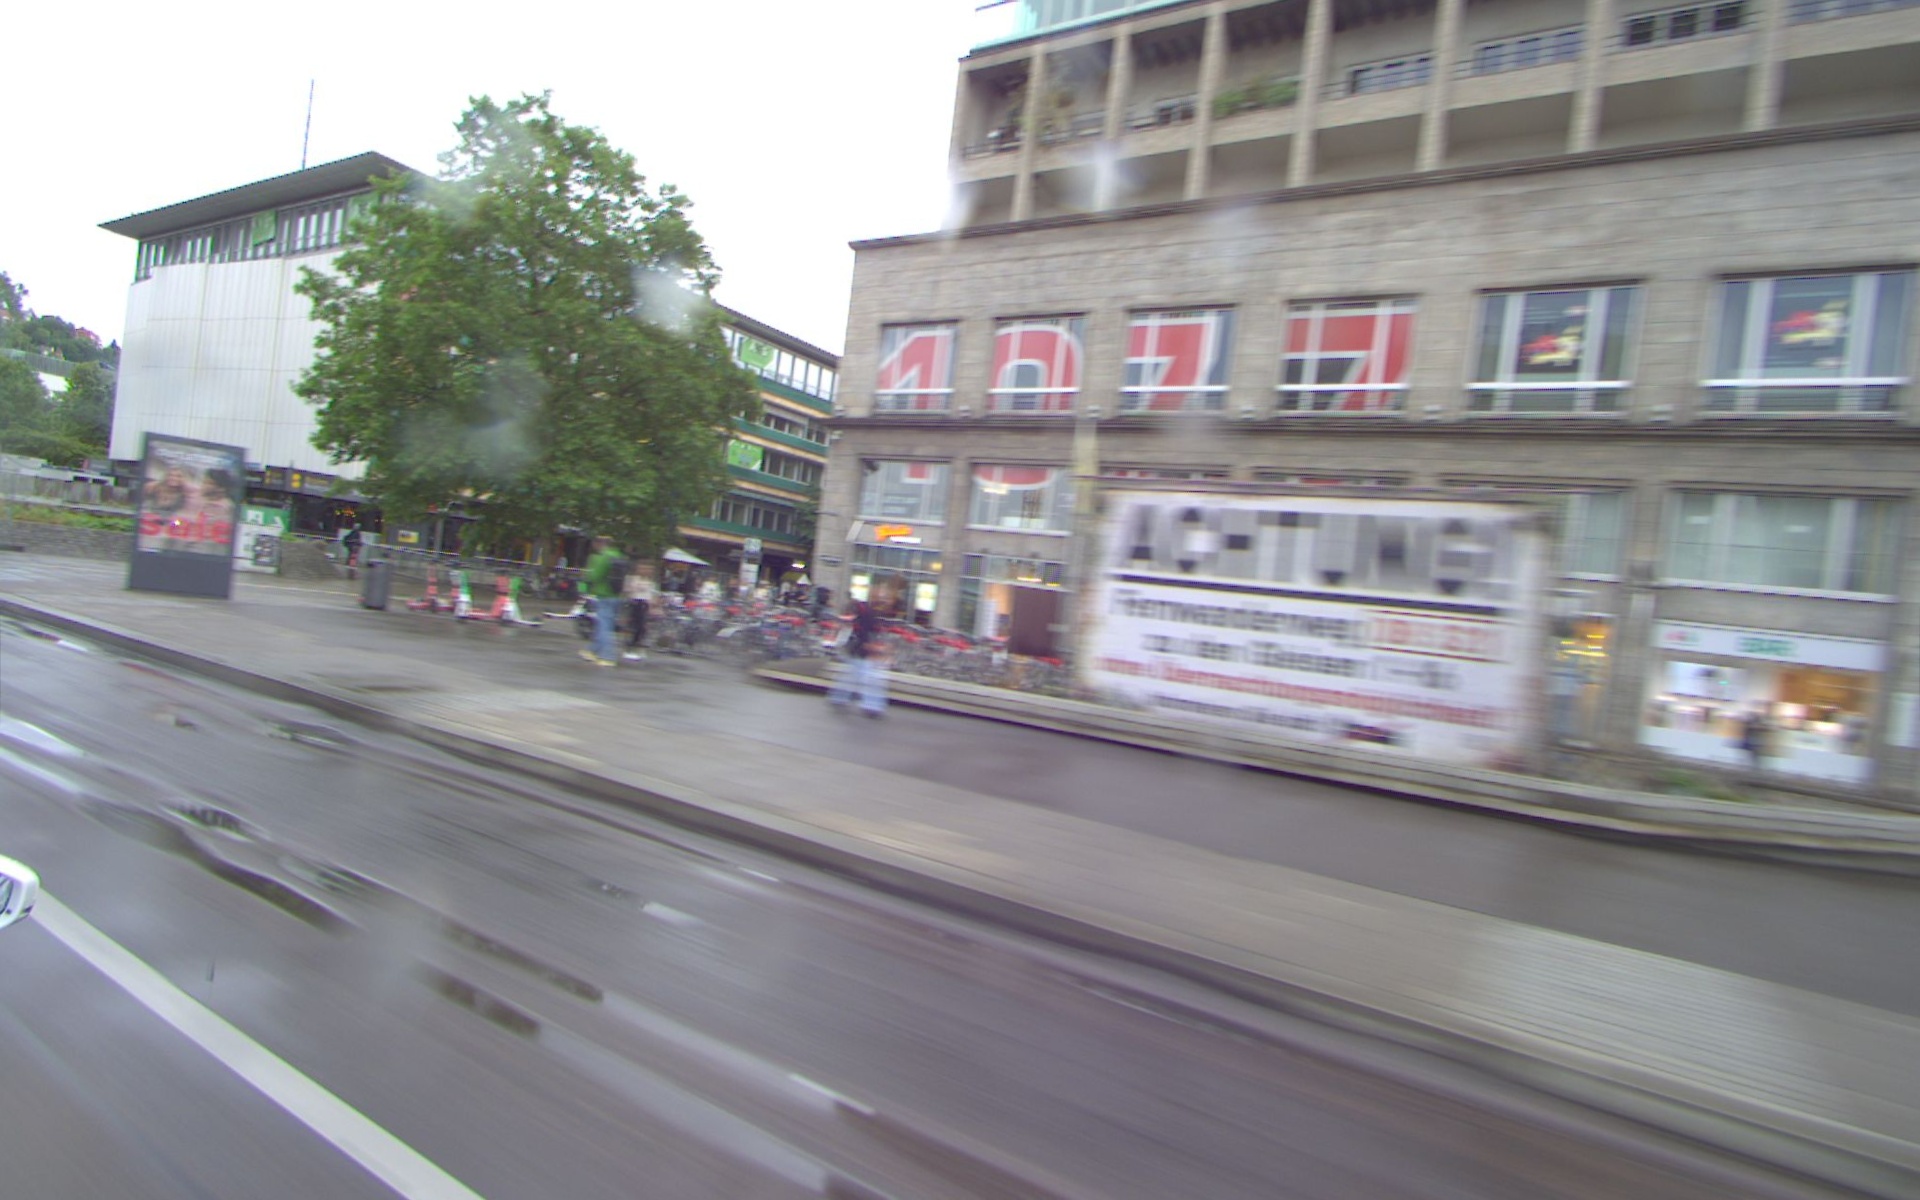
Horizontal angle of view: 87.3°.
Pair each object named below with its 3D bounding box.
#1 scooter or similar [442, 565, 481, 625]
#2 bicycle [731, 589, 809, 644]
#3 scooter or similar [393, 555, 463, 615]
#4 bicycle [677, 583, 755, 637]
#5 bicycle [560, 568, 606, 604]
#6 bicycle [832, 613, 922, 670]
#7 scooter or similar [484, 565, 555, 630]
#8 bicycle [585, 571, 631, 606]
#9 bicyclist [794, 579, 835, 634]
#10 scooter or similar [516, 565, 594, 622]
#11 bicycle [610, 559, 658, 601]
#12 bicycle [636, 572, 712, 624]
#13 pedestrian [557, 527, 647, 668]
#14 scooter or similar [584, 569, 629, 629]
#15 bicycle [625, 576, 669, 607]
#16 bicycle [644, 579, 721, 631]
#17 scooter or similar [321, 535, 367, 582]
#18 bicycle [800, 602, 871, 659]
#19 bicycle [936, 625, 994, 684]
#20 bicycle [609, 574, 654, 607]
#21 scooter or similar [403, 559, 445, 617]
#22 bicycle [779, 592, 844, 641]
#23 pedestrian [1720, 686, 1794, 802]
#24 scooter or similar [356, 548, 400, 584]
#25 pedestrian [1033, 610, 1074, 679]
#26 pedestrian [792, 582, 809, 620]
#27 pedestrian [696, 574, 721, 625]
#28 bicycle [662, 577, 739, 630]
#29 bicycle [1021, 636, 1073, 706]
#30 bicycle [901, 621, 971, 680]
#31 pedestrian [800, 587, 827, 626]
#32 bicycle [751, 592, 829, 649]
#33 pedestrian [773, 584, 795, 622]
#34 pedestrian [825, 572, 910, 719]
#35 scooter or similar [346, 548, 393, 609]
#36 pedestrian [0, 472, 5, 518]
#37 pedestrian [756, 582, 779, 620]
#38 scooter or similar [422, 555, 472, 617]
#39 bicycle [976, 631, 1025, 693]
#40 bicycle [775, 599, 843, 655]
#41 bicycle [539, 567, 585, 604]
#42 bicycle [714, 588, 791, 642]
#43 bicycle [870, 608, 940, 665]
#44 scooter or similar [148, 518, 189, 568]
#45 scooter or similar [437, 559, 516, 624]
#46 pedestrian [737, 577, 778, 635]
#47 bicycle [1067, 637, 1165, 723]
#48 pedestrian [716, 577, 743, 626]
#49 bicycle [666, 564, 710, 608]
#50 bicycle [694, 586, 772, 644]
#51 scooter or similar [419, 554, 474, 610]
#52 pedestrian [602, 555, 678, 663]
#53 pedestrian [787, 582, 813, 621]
[{"bbox_3d":[-10.284,-0.119,20.730,0.434,1.142,1.355,10,-2,-32],"label":"scooter or similar"},{"bbox_3d":[-4.730,0.438,25.158,0.608,1.253,1.990,7,2,33],"label":"bicycle"},{"bbox_3d":[-12.905,-0.364,24.444,1.350,1.264,0.435,8,-1,-28],"label":"scooter or similar"},{"bbox_3d":[-6.345,0.284,26.279,0.608,1.253,1.990,7,2,33],"label":"bicycle"},{"bbox_3d":[-14.033,-0.533,37.416,1.995,1.116,0.615,7,2,40],"label":"bicycle"},{"bbox_3d":[-1.869,0.935,23.255,0.863,1.123,2.884,7,1,20],"label":"bicycle"},{"bbox_3d":[-9.658,-0.032,22.102,0.581,1.271,1.308,7,-1,18],"label":"scooter or similar"},{"bbox_3d":[-13.314,-0.437,38.014,1.995,1.116,0.615,7,2,40],"label":"bicycle"},{"bbox_3d":[-4.555,0.204,31.499,0.893,1.574,0.650,7,1,36],"label":"bicyclist"},{"bbox_3d":[-10.928,-0.172,27.173,1.718,1.275,0.622,7,-1,5],"label":"scooter or similar"},{"bbox_3d":[-14.060,-0.868,43.339,2.100,1.581,0.792,7,0,40],"label":"bicycle"},{"bbox_3d":[-7.796,-0.036,27.495,0.608,1.253,1.990,7,2,33],"label":"bicycle"},{"bbox_3d":[-5.244,-0.024,14.746,0.774,1.956,0.708,7,1,23],"label":"pedestrian"},{"bbox_3d":[-9.357,-0.054,26.600,0.617,1.445,1.696,8,-1,-32],"label":"scooter or similar"},{"bbox_3d":[-12.310,-0.339,39.585,1.967,1.039,0.615,7,2,40],"label":"bicycle"},{"bbox_3d":[-7.424,0.161,27.000,0.608,1.253,1.990,7,2,33],"label":"bicycle"},{"bbox_3d":[-20.045,-1.346,32.723,1.292,1.348,0.410,7,-1,20],"label":"scooter or similar"},{"bbox_3d":[-2.960,0.732,24.093,0.607,1.253,1.993,7,1,25],"label":"bicycle"},{"bbox_3d":[0.123,1.138,21.417,0.661,1.123,1.695,7,1,17],"label":"bicycle"},{"bbox_3d":[-12.730,-0.379,38.967,1.967,1.069,0.615,7,2,40],"label":"bicycle"},{"bbox_3d":[-12.200,-0.278,22.889,0.941,1.221,0.305,7,-1,33],"label":"scooter or similar"},{"bbox_3d":[-4.669,0.517,31.572,1.982,1.270,0.659,7,0,36],"label":"bicycle"},{"bbox_3d":[13.444,2.408,16.997,0.777,1.814,0.652,7,1,37],"label":"pedestrian"},{"bbox_3d":[-19.645,-1.146,33.956,1.292,1.048,0.477,7,1,20],"label":"scooter or similar"},{"bbox_3d":[2.457,1.172,26.307,0.696,1.710,0.597,7,0,32],"label":"pedestrian"},{"bbox_3d":[-7.356,0.058,46.308,0.434,1.658,0.460,7,-1,13],"label":"pedestrian"},{"bbox_3d":[-8.398,-0.023,33.581,0.637,1.622,0.613,5,1,-19],"label":"pedestrian"},{"bbox_3d":[-6.838,0.123,26.613,0.608,1.253,1.990,7,2,33],"label":"bicycle"},{"bbox_3d":[1.759,1.384,20.053,0.873,1.154,2.090,6,1,6],"label":"bicycle"},{"bbox_3d":[-0.495,1.075,21.957,0.810,1.123,1.982,7,1,18],"label":"bicycle"},{"bbox_3d":[-7.645,0.331,52.413,0.821,1.885,0.820,7,-1,33],"label":"pedestrian"},{"bbox_3d":[-4.148,0.529,24.696,0.608,1.282,1.990,7,2,33],"label":"bicycle"},{"bbox_3d":[-8.388,0.146,47.952,0.699,1.687,0.771,7,-1,3],"label":"pedestrian"},{"bbox_3d":[-1.075,0.533,11.754,0.649,1.639,0.495,6,1,-43],"label":"pedestrian"},{"bbox_3d":[-13.089,-0.482,22.287,1.081,1.251,0.324,7,-1,33],"label":"scooter or similar"},{"bbox_3d":[-19.587,-1.683,19.876,0.743,1.827,0.541,7,1,4],"label":"pedestrian"},{"bbox_3d":[-9.143,0.039,47.779,0.699,1.687,0.771,7,-1,3],"label":"pedestrian"},{"bbox_3d":[-11.871,-0.327,23.272,1.154,1.296,0.369,7,-1,33],"label":"scooter or similar"},{"bbox_3d":[0.861,1.264,20.899,0.675,1.123,1.735,6,1,10],"label":"bicycle"},{"bbox_3d":[-3.644,0.662,24.348,0.608,1.241,1.616,7,2,33],"label":"bicycle"},{"bbox_3d":[-14.479,-0.548,36.598,1.967,1.133,0.615,7,2,40],"label":"bicycle"},{"bbox_3d":[-5.266,0.394,25.598,0.608,1.253,1.990,7,1,32],"label":"bicycle"},{"bbox_3d":[-1.198,0.844,22.437,0.728,1.122,2.235,7,-2,17],"label":"bicycle"},{"bbox_3d":[-21.401,-1.557,27.190,1.139,1.231,0.352,7,-1,31],"label":"scooter or similar"},{"bbox_3d":[-10.702,-0.171,22.284,1.348,1.245,0.568,8,-1,-14],"label":"scooter or similar"},{"bbox_3d":[-6.363,0.174,31.636,0.788,1.694,0.880,8,-1,-35],"label":"pedestrian"},{"bbox_3d":[2.809,1.428,18.417,0.609,1.253,2.176,5,1,-23],"label":"bicycle"},{"bbox_3d":[-7.772,0.042,33.884,0.662,1.543,0.779,6,1,-19],"label":"pedestrian"},{"bbox_3d":[-11.607,-0.619,42.898,1.967,1.654,0.615,7,0,40],"label":"bicycle"},{"bbox_3d":[-5.821,0.407,25.954,0.608,1.352,1.990,7,2,33],"label":"bicycle"},{"bbox_3d":[-12.841,-0.450,25.184,1.085,1.231,0.473,8,-1,-28],"label":"scooter or similar"},{"bbox_3d":[-5.316,0.152,16.711,0.783,1.661,0.779,6,1,-43],"label":"pedestrian"},{"bbox_3d":[-8.838,0.091,55.469,0.835,2.037,0.987,7,-1,16],"label":"pedestrian"}]
